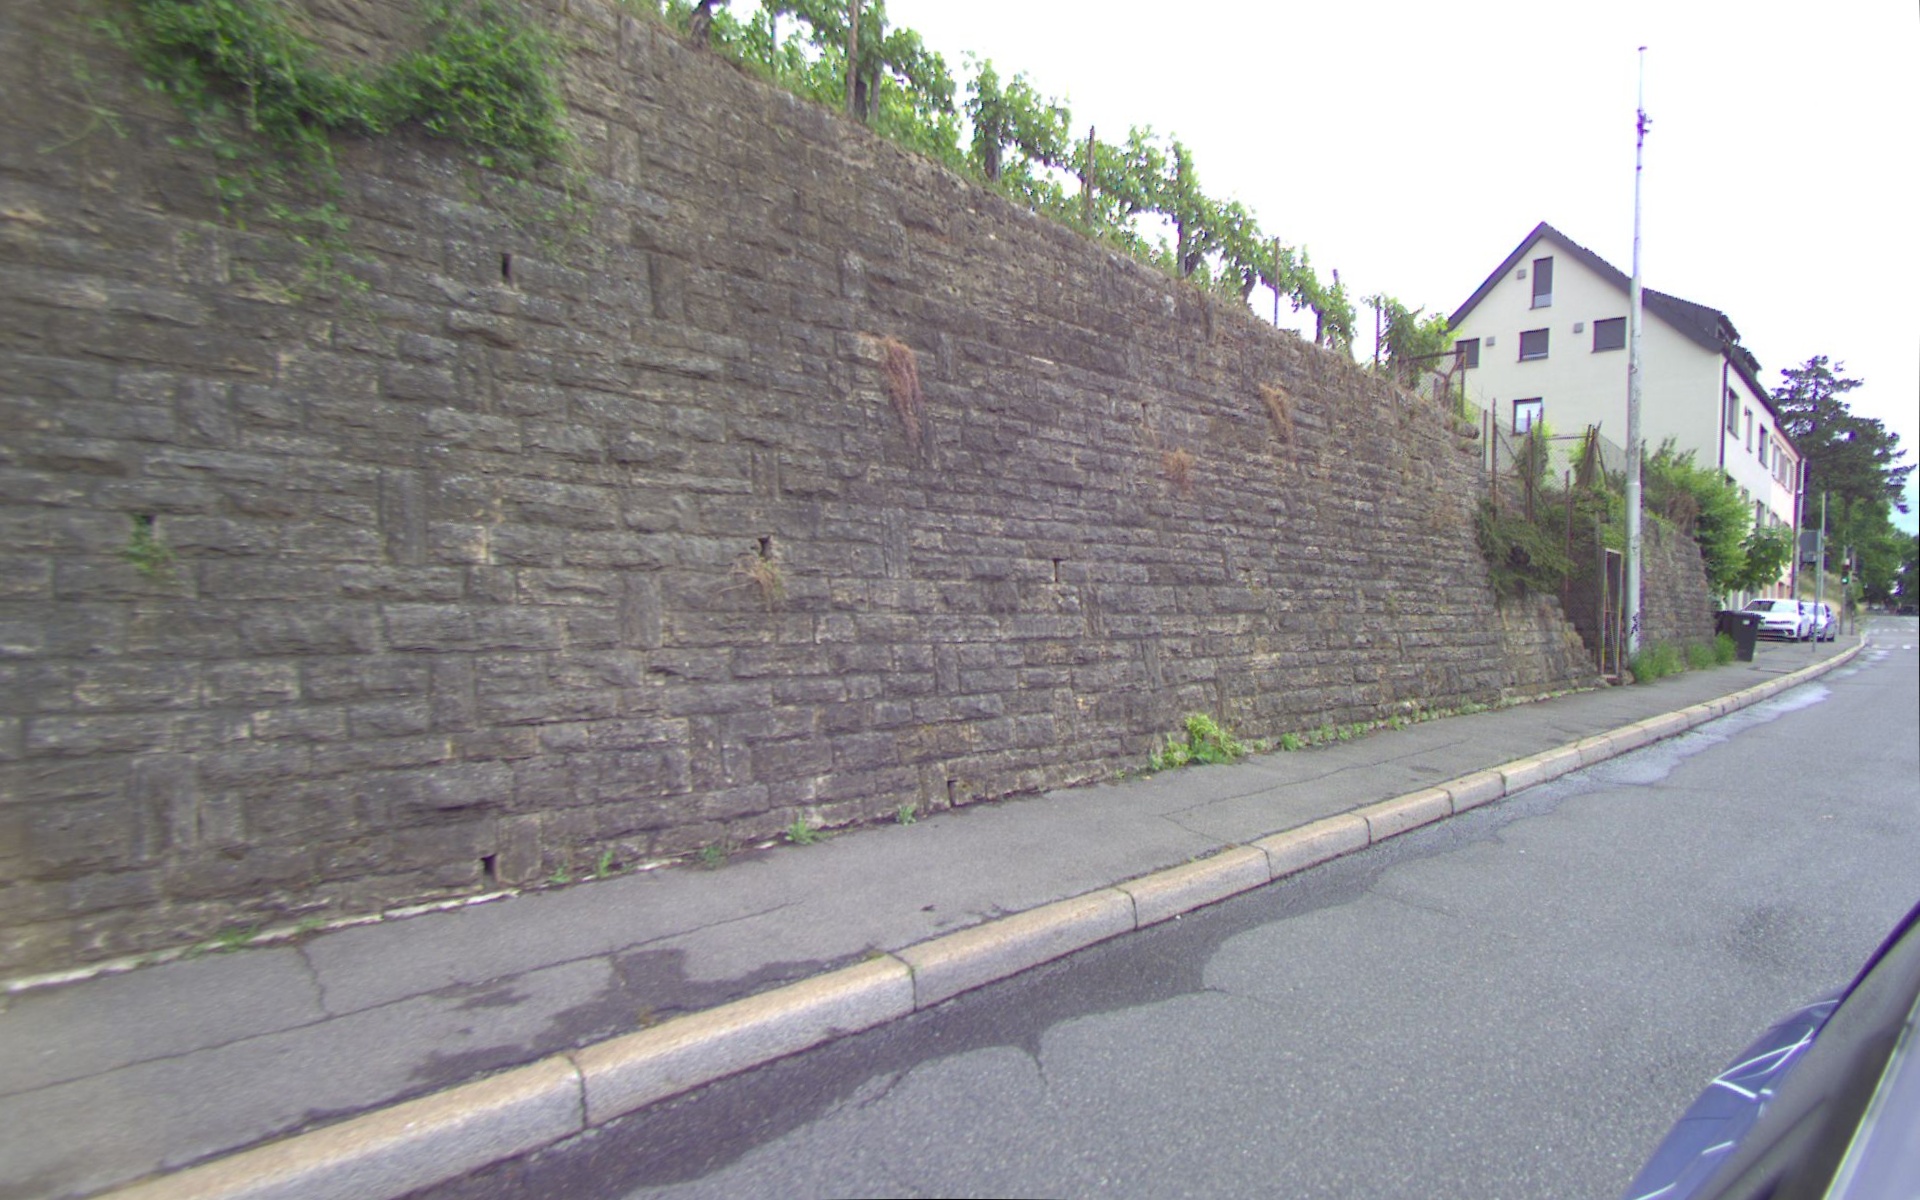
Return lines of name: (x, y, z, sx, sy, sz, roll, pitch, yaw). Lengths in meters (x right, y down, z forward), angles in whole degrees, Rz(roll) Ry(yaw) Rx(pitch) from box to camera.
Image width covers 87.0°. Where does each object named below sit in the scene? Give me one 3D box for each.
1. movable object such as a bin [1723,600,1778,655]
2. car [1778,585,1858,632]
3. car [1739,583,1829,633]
movable object such as a bin: (17.086, 0.571, 21.871, 0.860, 1.141, 0.810, 0, 1, -43)
car: (31.651, 0.274, 37.309, 4.177, 1.595, 1.730, -1, 0, -42)
car: (27.915, 0.231, 34.255, 3.987, 1.595, 1.796, -1, 0, -42)
